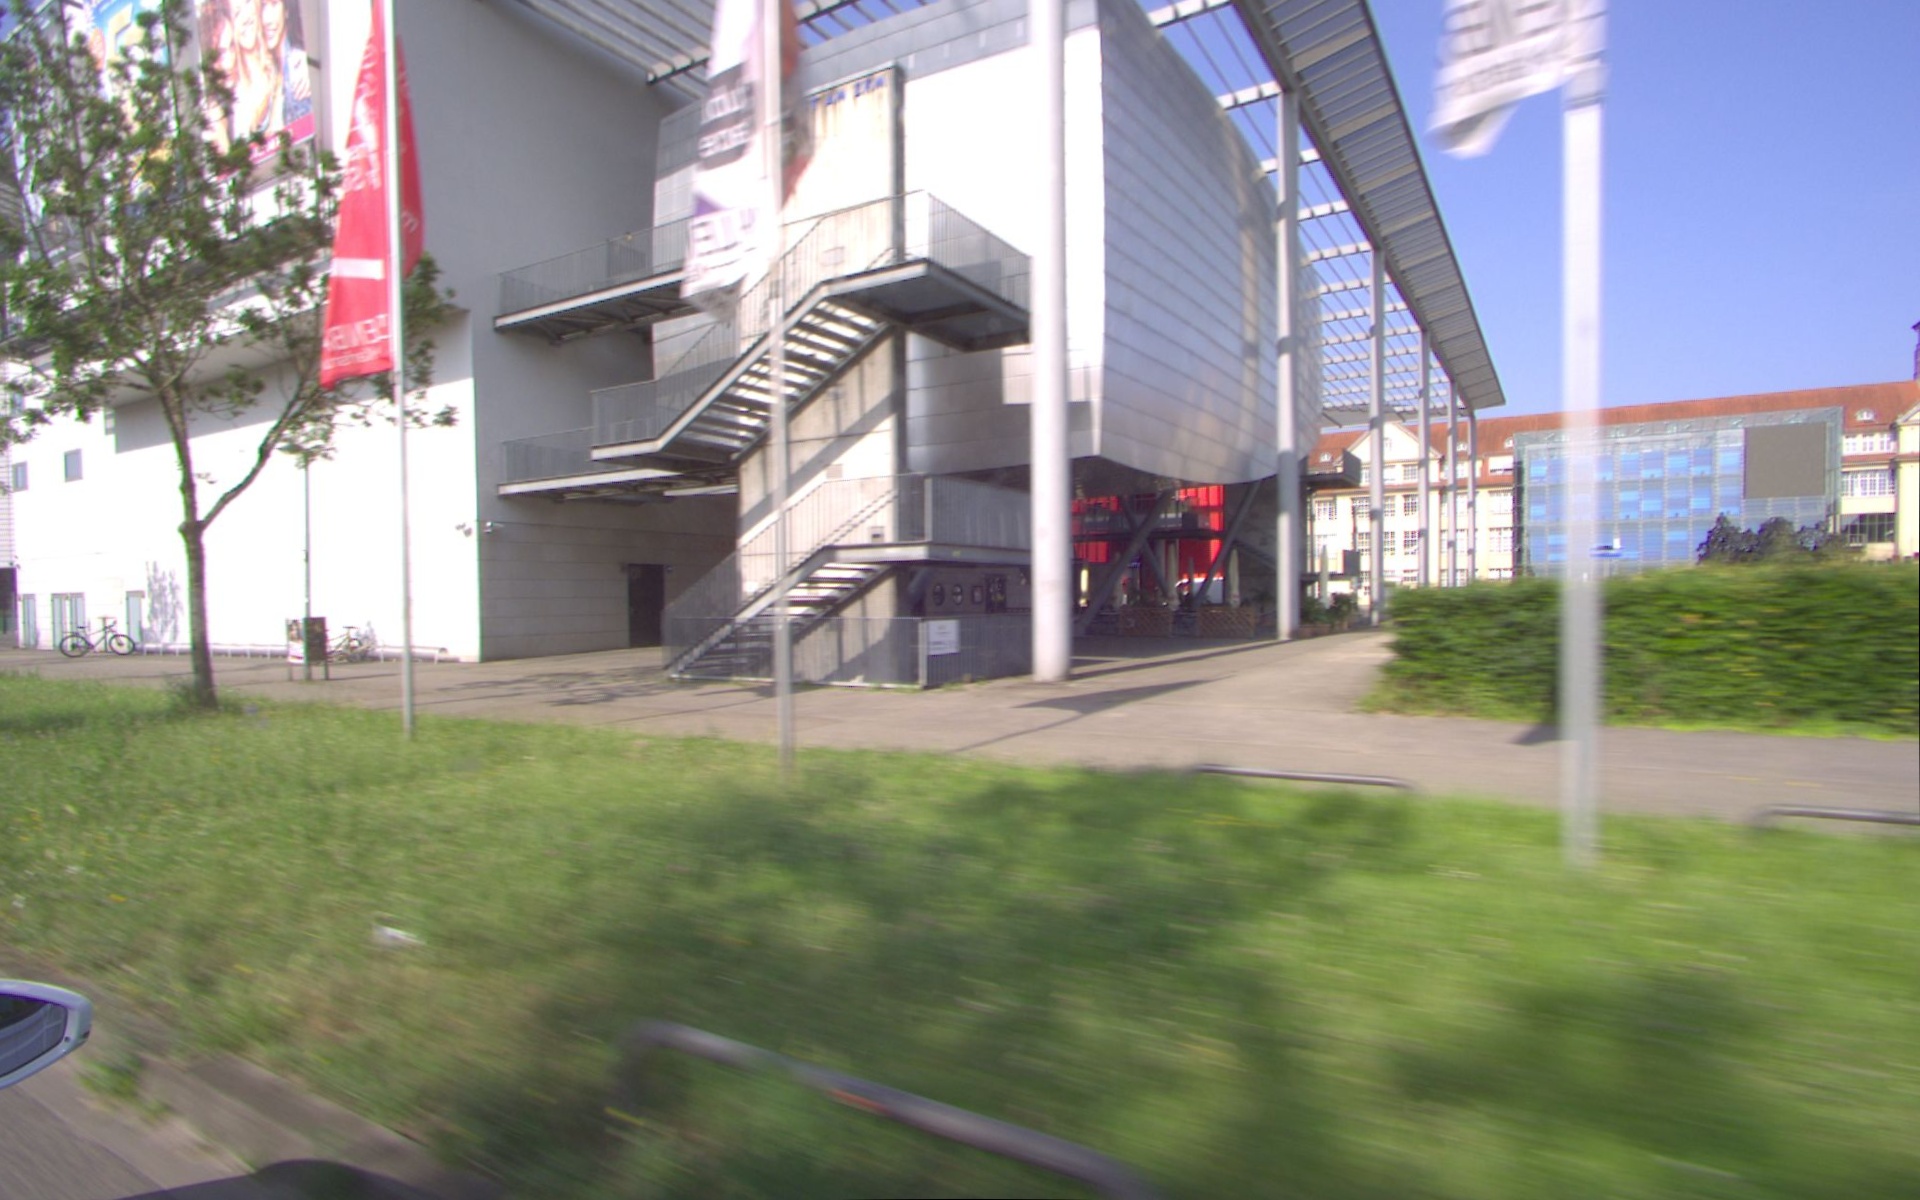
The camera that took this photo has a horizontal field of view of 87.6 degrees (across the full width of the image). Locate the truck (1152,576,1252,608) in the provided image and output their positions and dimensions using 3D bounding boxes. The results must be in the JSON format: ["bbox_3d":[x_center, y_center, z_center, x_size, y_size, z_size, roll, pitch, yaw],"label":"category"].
[{"bbox_3d":[14.712,-0.474,60.882,5.609,1.877,1.991,0,1,30],"label":"truck"}]

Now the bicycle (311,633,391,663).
[{"bbox_3d":[-15.276,1.188,25.150,0.530,0.653,1.653,0,1,32],"label":"bicycle"}]

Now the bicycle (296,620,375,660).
[{"bbox_3d":[-15.880,1.001,25.505,0.476,0.927,1.653,0,1,32],"label":"bicycle"}]

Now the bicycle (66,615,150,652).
[{"bbox_3d":[-28.031,1.088,32.986,0.667,1.117,2.001,0,1,36],"label":"bicycle"}]
